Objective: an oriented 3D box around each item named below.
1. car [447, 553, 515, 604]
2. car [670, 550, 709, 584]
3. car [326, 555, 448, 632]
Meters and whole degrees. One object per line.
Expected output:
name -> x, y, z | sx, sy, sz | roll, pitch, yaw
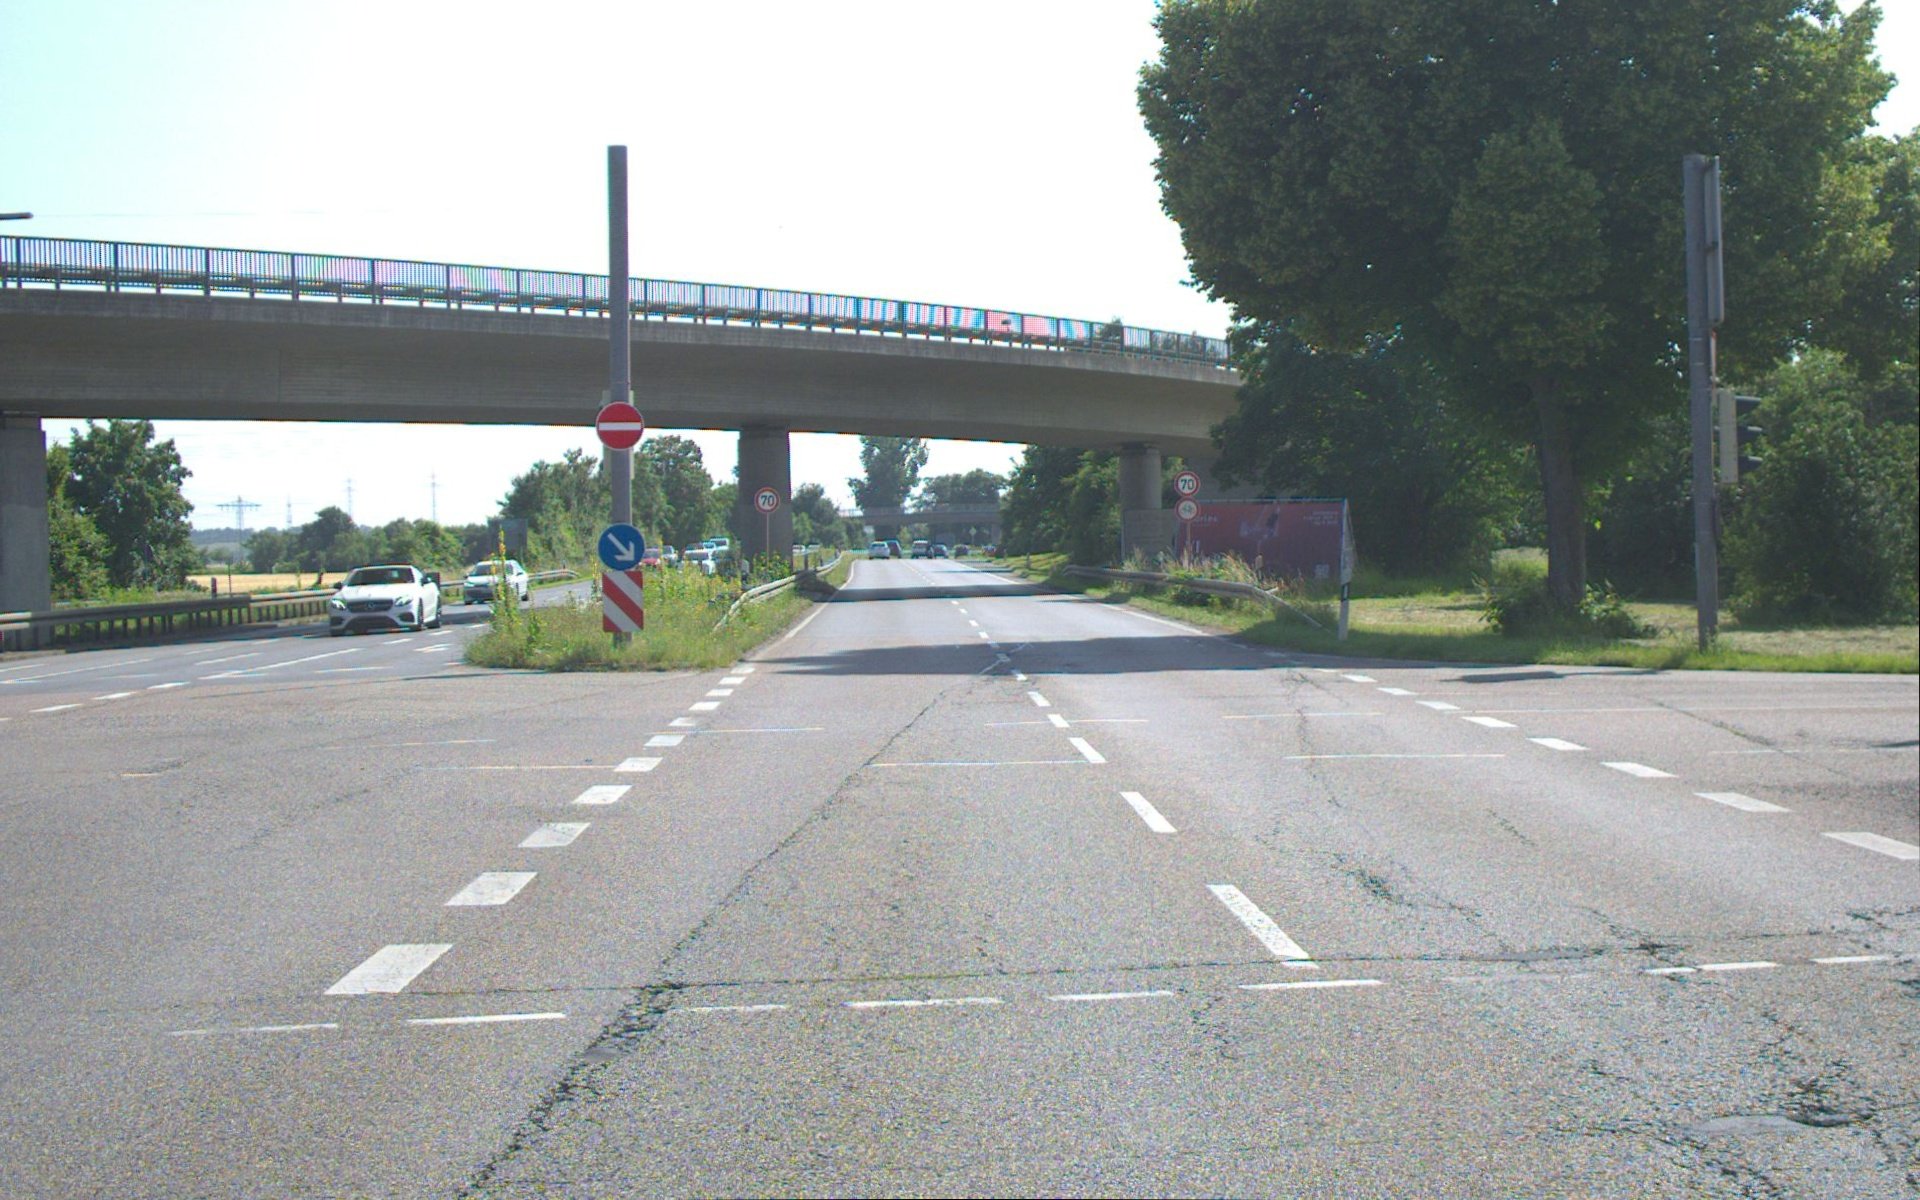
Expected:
car -> -16.112, -0.732, 115.797 | 1.790, 1.622, 4.000 | -2, 1, -2
car -> -13.016, -1.606, 165.713 | 1.557, 1.535, 4.000 | -2, 1, -1
car -> -11.975, -0.153, 72.030 | 1.856, 1.443, 4.241 | -3, 1, -1
